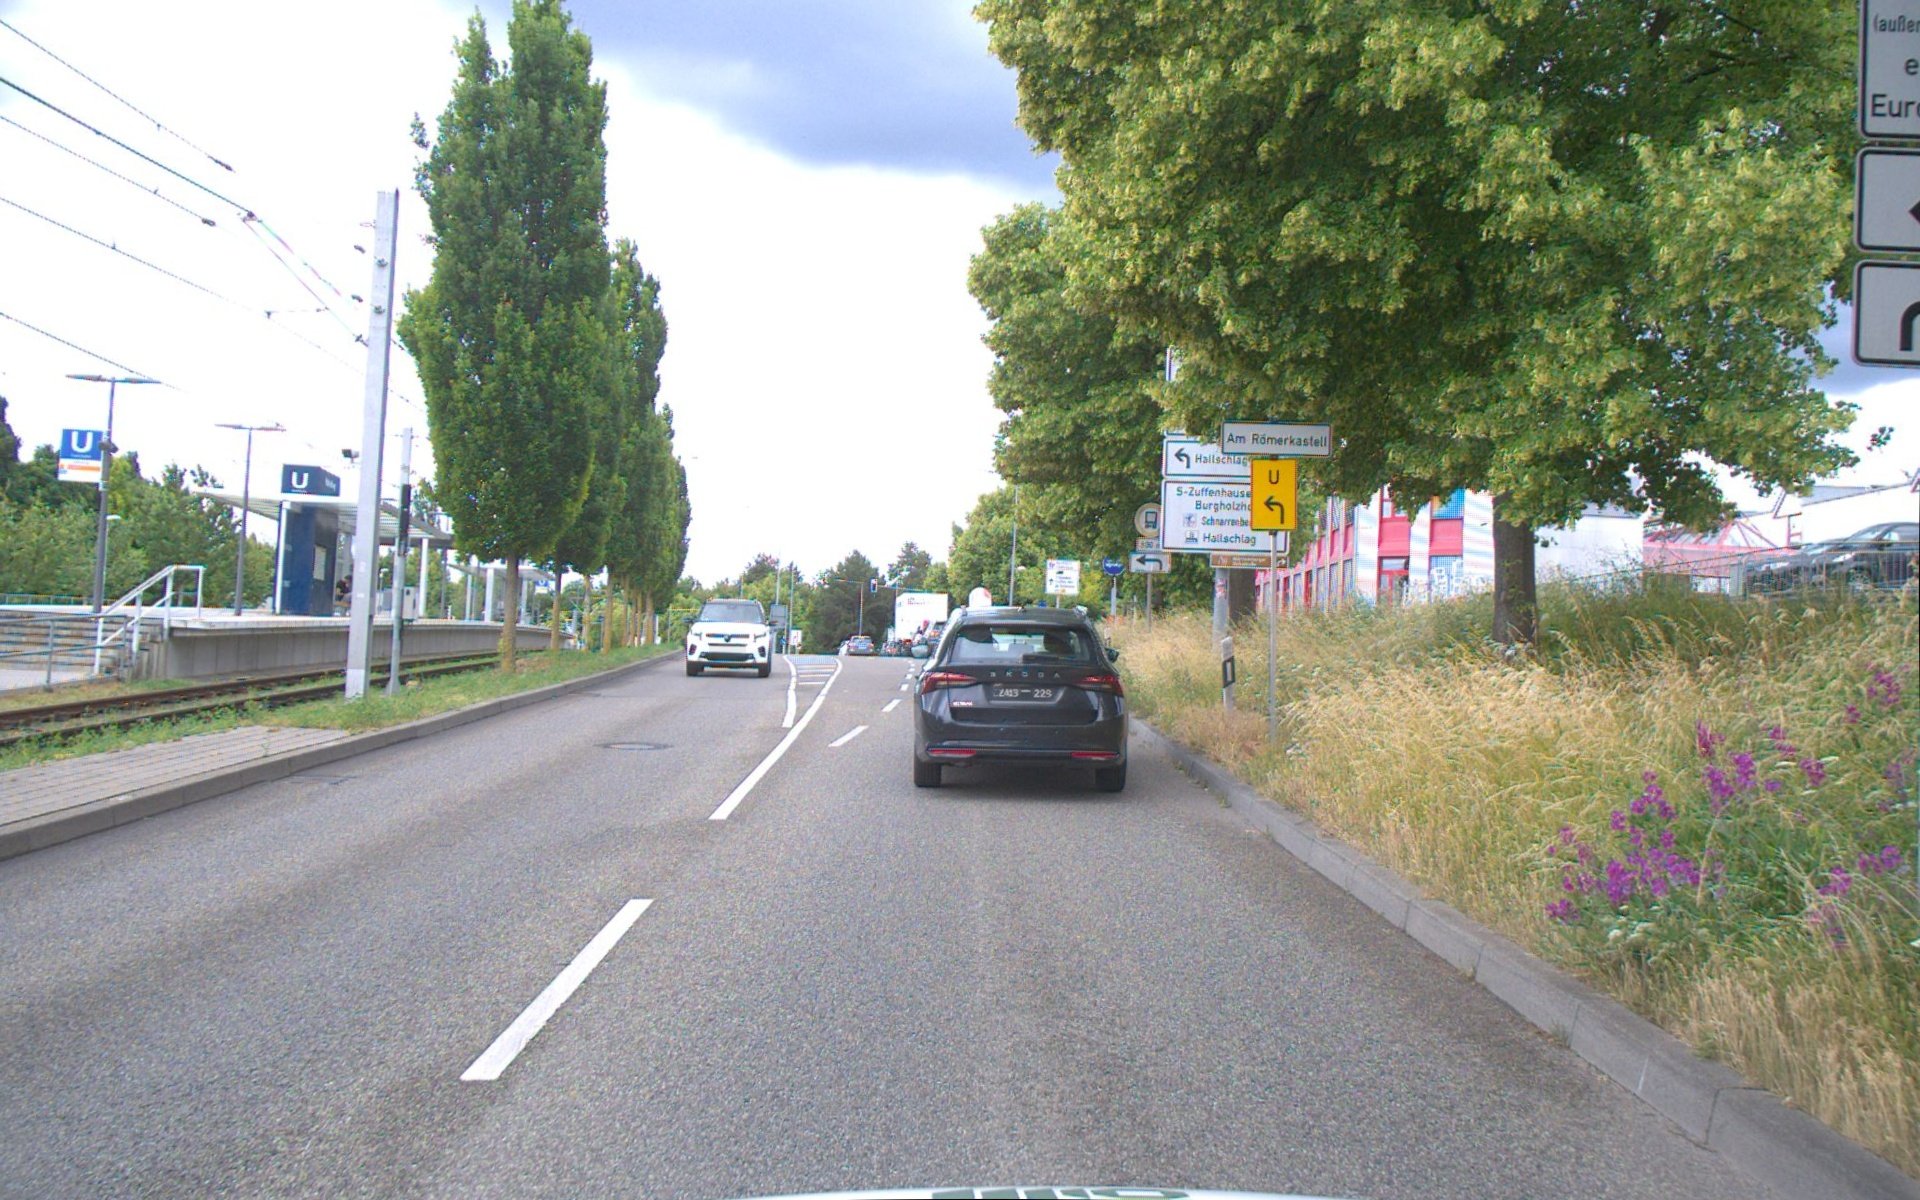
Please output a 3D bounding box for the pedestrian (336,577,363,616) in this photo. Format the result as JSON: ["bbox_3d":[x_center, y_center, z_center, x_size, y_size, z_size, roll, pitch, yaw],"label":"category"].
[{"bbox_3d":[-17.662,-0.099,47.867,0.595,1.098,0.469,1,-1,-8],"label":"pedestrian"}]

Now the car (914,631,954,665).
[{"bbox_3d":[-1.216,2.201,75.738,1.638,1.473,4.486,2,-2,-3],"label":"car"}]

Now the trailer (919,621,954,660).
[{"bbox_3d":[-1.021,1.759,71.848,1.381,1.622,3.301,1,-2,-3],"label":"trailer"}]

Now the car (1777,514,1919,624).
[{"bbox_3d":[18.328,-0.568,32.501,3.677,1.993,1.643,3,0,2],"label":"car"}]

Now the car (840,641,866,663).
[{"bbox_3d":[-7.843,3.795,120.745,1.688,1.447,4.349,1,-3,-7],"label":"car"}]

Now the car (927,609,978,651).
[{"bbox_3d":[-0.329,1.167,65.265,1.665,1.512,3.996,2,0,-4],"label":"car"}]

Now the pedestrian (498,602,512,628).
[{"bbox_3d":[-22.751,0.757,82.734,0.599,1.291,0.658,2,-1,-12],"label":"pedestrian"}]

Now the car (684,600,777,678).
[{"bbox_3d":[-4.845,0.799,35.244,1.682,1.548,3.741,1,0,-4],"label":"car"}]

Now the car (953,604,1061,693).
[{"bbox_3d":[0.813,0.853,30.625,1.591,1.483,3.685,1,0,-5],"label":"car"}]

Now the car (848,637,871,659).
[{"bbox_3d":[-6.773,3.211,111.519,1.495,1.378,3.488,1,0,-4],"label":"car"}]

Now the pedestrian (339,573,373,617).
[{"bbox_3d":[-17.158,-0.135,46.974,0.747,1.220,0.664,1,-1,-7],"label":"pedestrian"}]

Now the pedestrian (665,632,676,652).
[{"bbox_3d":[-22.683,3.285,129.593,0.848,1.588,0.517,1,-1,-9],"label":"pedestrian"}]

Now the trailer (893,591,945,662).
[{"bbox_3d":[-2.503,1.658,99.139,2.516,3.771,7.752,1,-4,-6],"label":"trailer"}]

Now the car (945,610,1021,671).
[{"bbox_3d":[0.569,1.055,43.684,1.684,1.483,3.693,2,-1,-4],"label":"car"}]

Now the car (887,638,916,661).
[{"bbox_3d":[-4.057,3.398,113.923,1.776,1.378,4.114,2,-1,-5],"label":"car"}]

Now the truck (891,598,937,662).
[{"bbox_3d":[-2.873,1.913,102.925,2.521,3.771,4.099,1,-4,-6],"label":"truck"}]

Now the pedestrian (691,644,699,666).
[{"bbox_3d":[-20.867,4.319,130.154,0.575,1.650,0.422,1,-1,-8],"label":"pedestrian"}]

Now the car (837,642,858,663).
[{"bbox_3d":[-8.570,3.987,125.836,1.506,1.531,2.665,1,-3,-7],"label":"car"}]

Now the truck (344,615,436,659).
[{"bbox_3d":[-50.347,3.236,146.273,7.095,3.662,2.690,1,0,-3],"label":"truck"}]

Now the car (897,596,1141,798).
[{"bbox_3d":[0.557,0.738,14.620,1.797,1.457,4.280,2,0,3],"label":"car"}]
